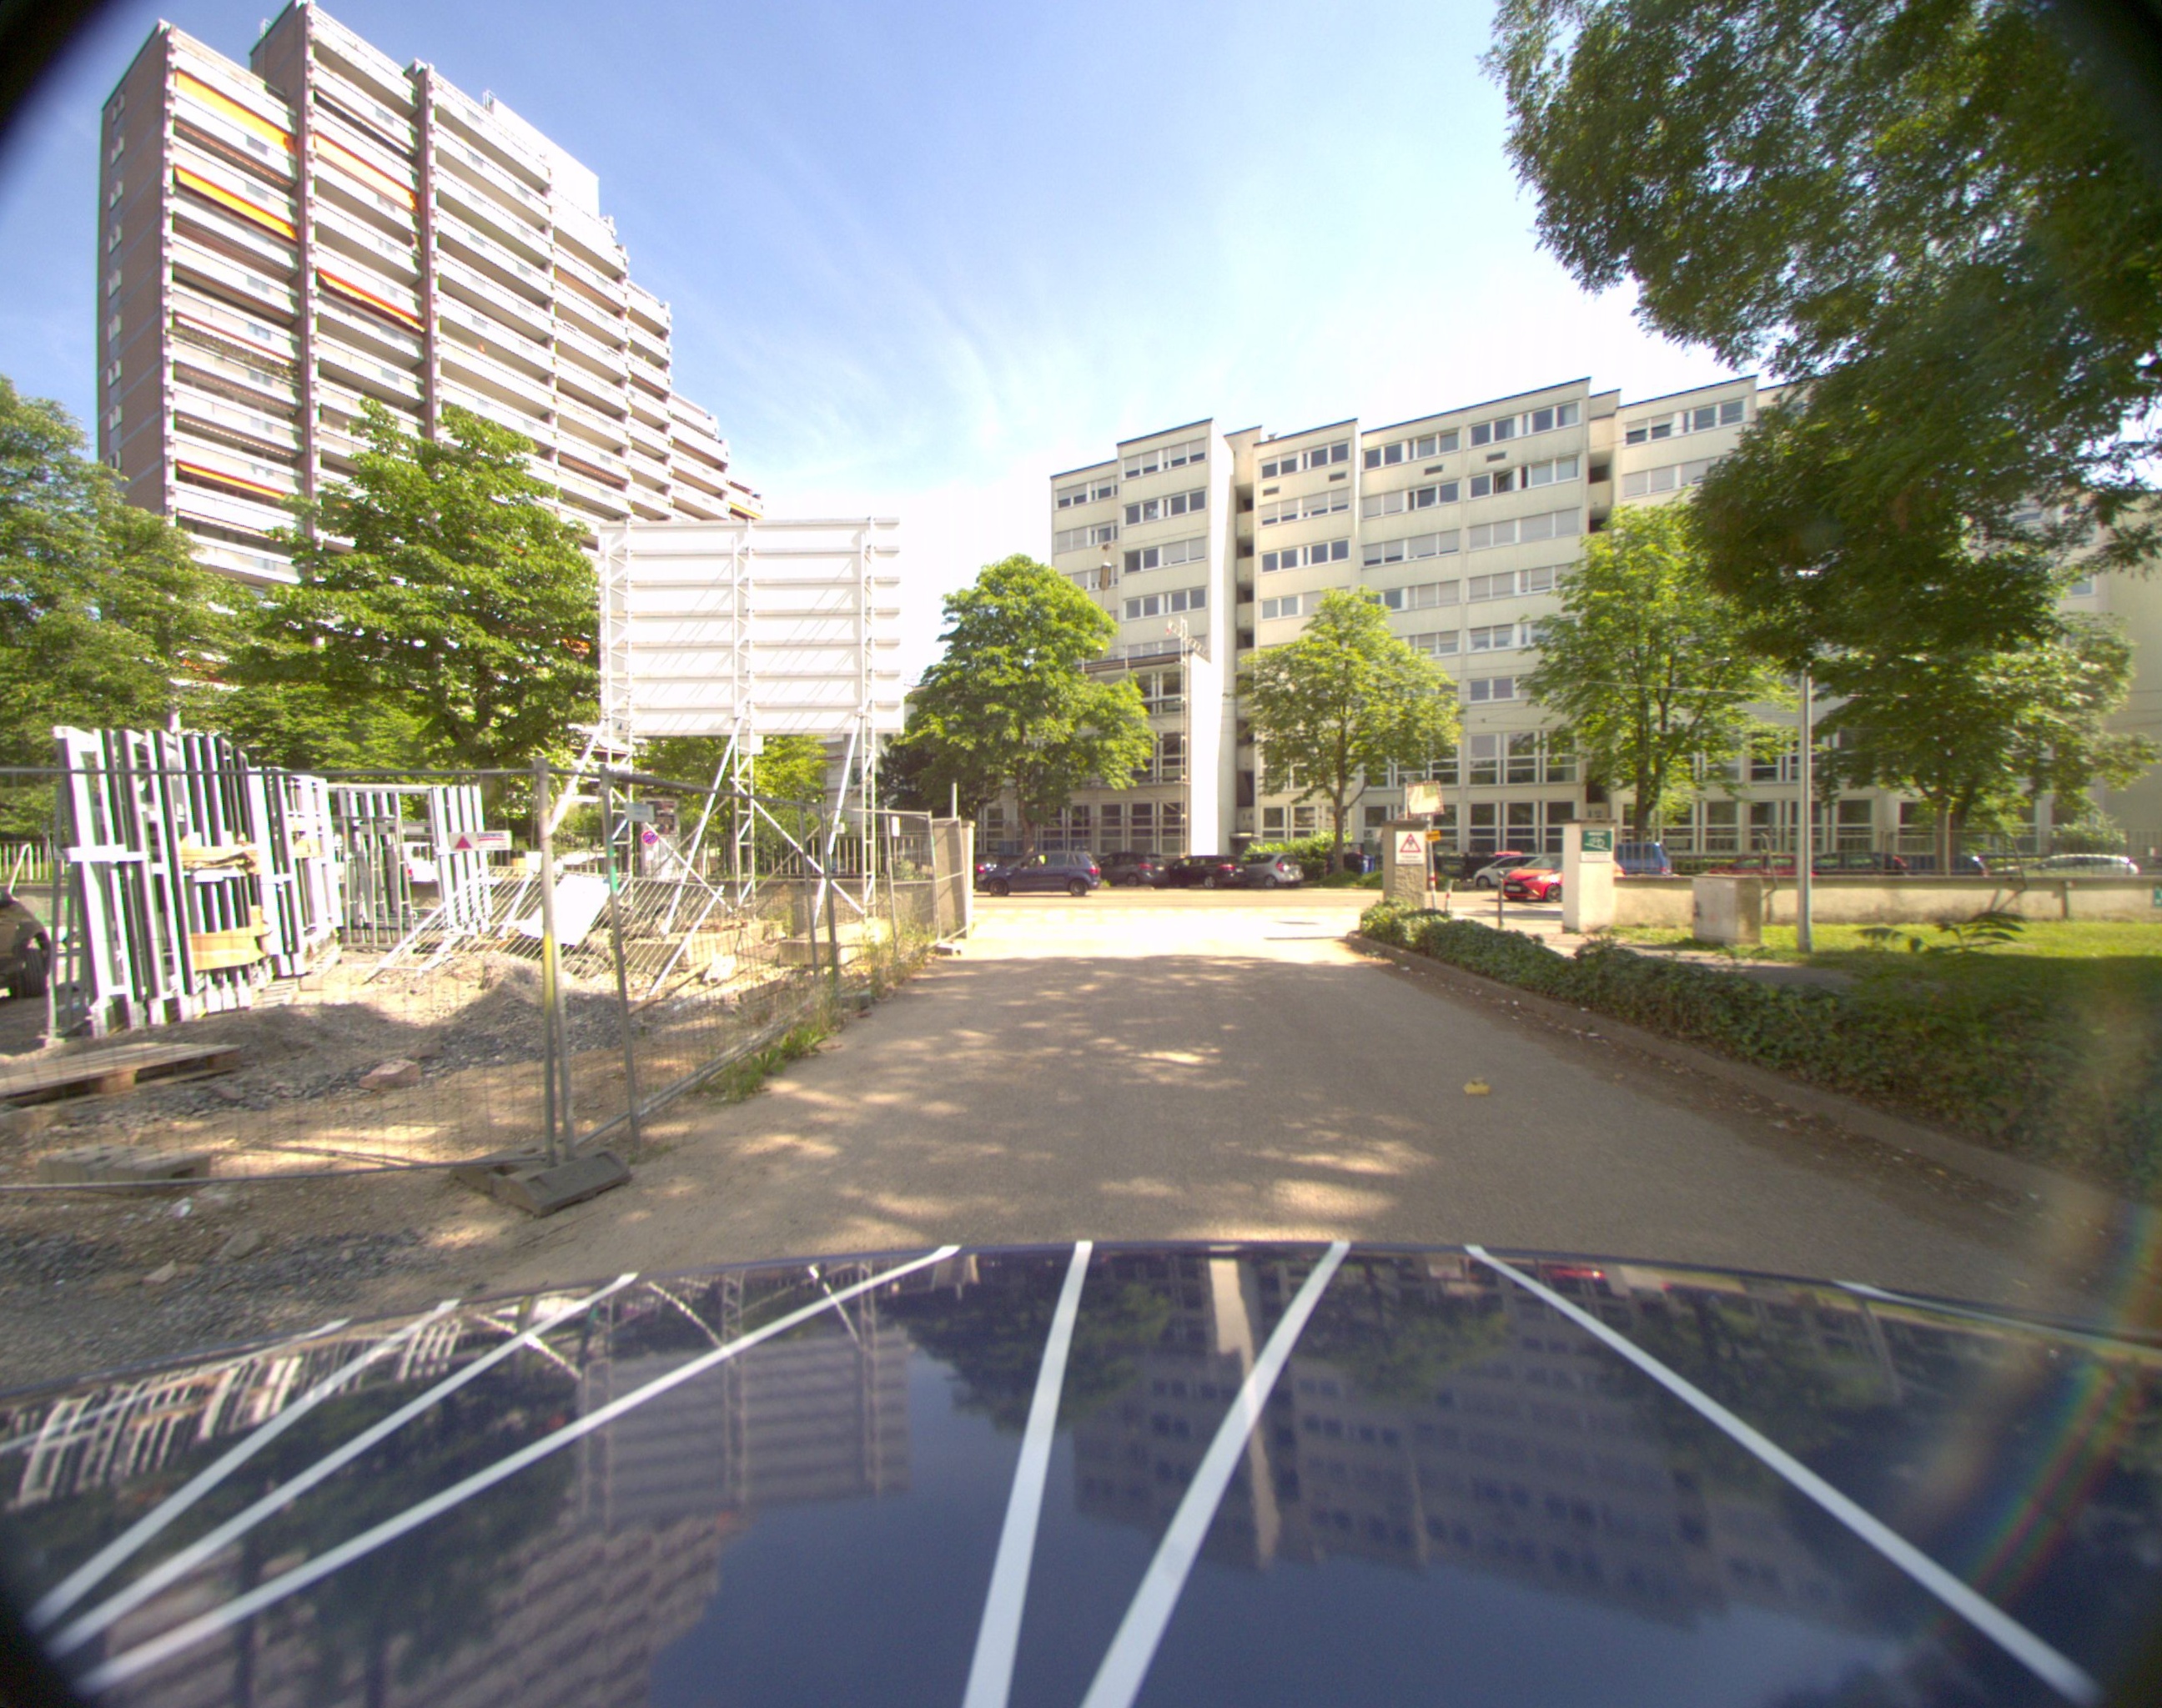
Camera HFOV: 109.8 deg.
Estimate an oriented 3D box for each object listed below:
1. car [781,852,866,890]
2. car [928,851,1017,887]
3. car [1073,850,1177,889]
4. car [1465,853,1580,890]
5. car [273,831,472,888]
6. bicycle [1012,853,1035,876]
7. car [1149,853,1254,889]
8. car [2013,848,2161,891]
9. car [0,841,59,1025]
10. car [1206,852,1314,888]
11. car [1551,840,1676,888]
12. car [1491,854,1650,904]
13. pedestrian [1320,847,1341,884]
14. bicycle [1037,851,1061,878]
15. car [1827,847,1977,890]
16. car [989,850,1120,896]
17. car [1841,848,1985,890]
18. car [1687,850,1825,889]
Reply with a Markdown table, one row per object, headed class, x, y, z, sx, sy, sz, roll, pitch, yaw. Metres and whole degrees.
| class | x | y | z | sx | sy | sz | roll | pitch | yaw |
| --- | --- | --- | --- | --- | --- | --- | --- | --- | --- |
| car | -11.207 | 0.671 | 32.894 | 1.846 | 1.402 | 4.134 | -3 | 3 | -44 |
| car | -4.735 | 0.604 | 32.846 | 3.988 | 1.443 | 1.657 | 0 | 1 | 44 |
| car | 1.862 | 0.648 | 33.004 | 4.378 | 1.556 | 1.812 | 0 | 1 | 44 |
| car | 18.614 | 0.700 | 32.200 | 1.713 | 1.455 | 3.840 | 0 | 0 | -33 |
| car | -24.973 | 0.191 | 26.921 | 5.244 | 1.934 | 1.996 | 0 | 0 | 2 |
| bicycle | -3.073 | 0.558 | 40.816 | 0.488 | 1.193 | 2.019 | 0 | 0 | 19 |
| car | 5.159 | 0.685 | 32.820 | 4.173 | 1.467 | 1.805 | 0 | 0 | 43 |
| car | 41.887 | 0.601 | 31.556 | 1.833 | 1.652 | 3.989 | -1 | 0 | -40 |
| car | -10.618 | 0.793 | 5.997 | 1.925 | 1.770 | 4.300 | -3 | 2 | -38 |
| car | 7.795 | 0.654 | 33.342 | 1.806 | 1.477 | 4.327 | -1 | 0 | -44 |
| car | 22.127 | 0.414 | 31.674 | 1.791 | 1.895 | 3.989 | 0 | -1 | -44 |
| car | 14.915 | 0.731 | 23.189 | 4.177 | 1.404 | 1.660 | 0 | 0 | -13 |
| pedestrian | 11.962 | 0.551 | 36.388 | 0.753 | 1.766 | 0.731 | 0 | 1 | 0 |
| bicycle | -1.678 | 0.525 | 40.180 | 0.488 | 1.370 | 2.020 | 0 | 1 | 21 |
| car | 32.680 | 0.564 | 30.421 | 1.808 | 1.630 | 3.989 | 0 | -1 | -44 |
| car | -0.855 | 0.654 | 26.307 | 4.386 | 1.512 | 1.944 | 0 | 0 | 2 |
| car | 34.592 | 0.615 | 31.757 | 1.836 | 1.630 | 3.989 | 0 | -1 | -44 |
| car | 28.266 | 0.625 | 31.916 | 1.786 | 1.529 | 4.208 | 0 | -1 | -44 |
